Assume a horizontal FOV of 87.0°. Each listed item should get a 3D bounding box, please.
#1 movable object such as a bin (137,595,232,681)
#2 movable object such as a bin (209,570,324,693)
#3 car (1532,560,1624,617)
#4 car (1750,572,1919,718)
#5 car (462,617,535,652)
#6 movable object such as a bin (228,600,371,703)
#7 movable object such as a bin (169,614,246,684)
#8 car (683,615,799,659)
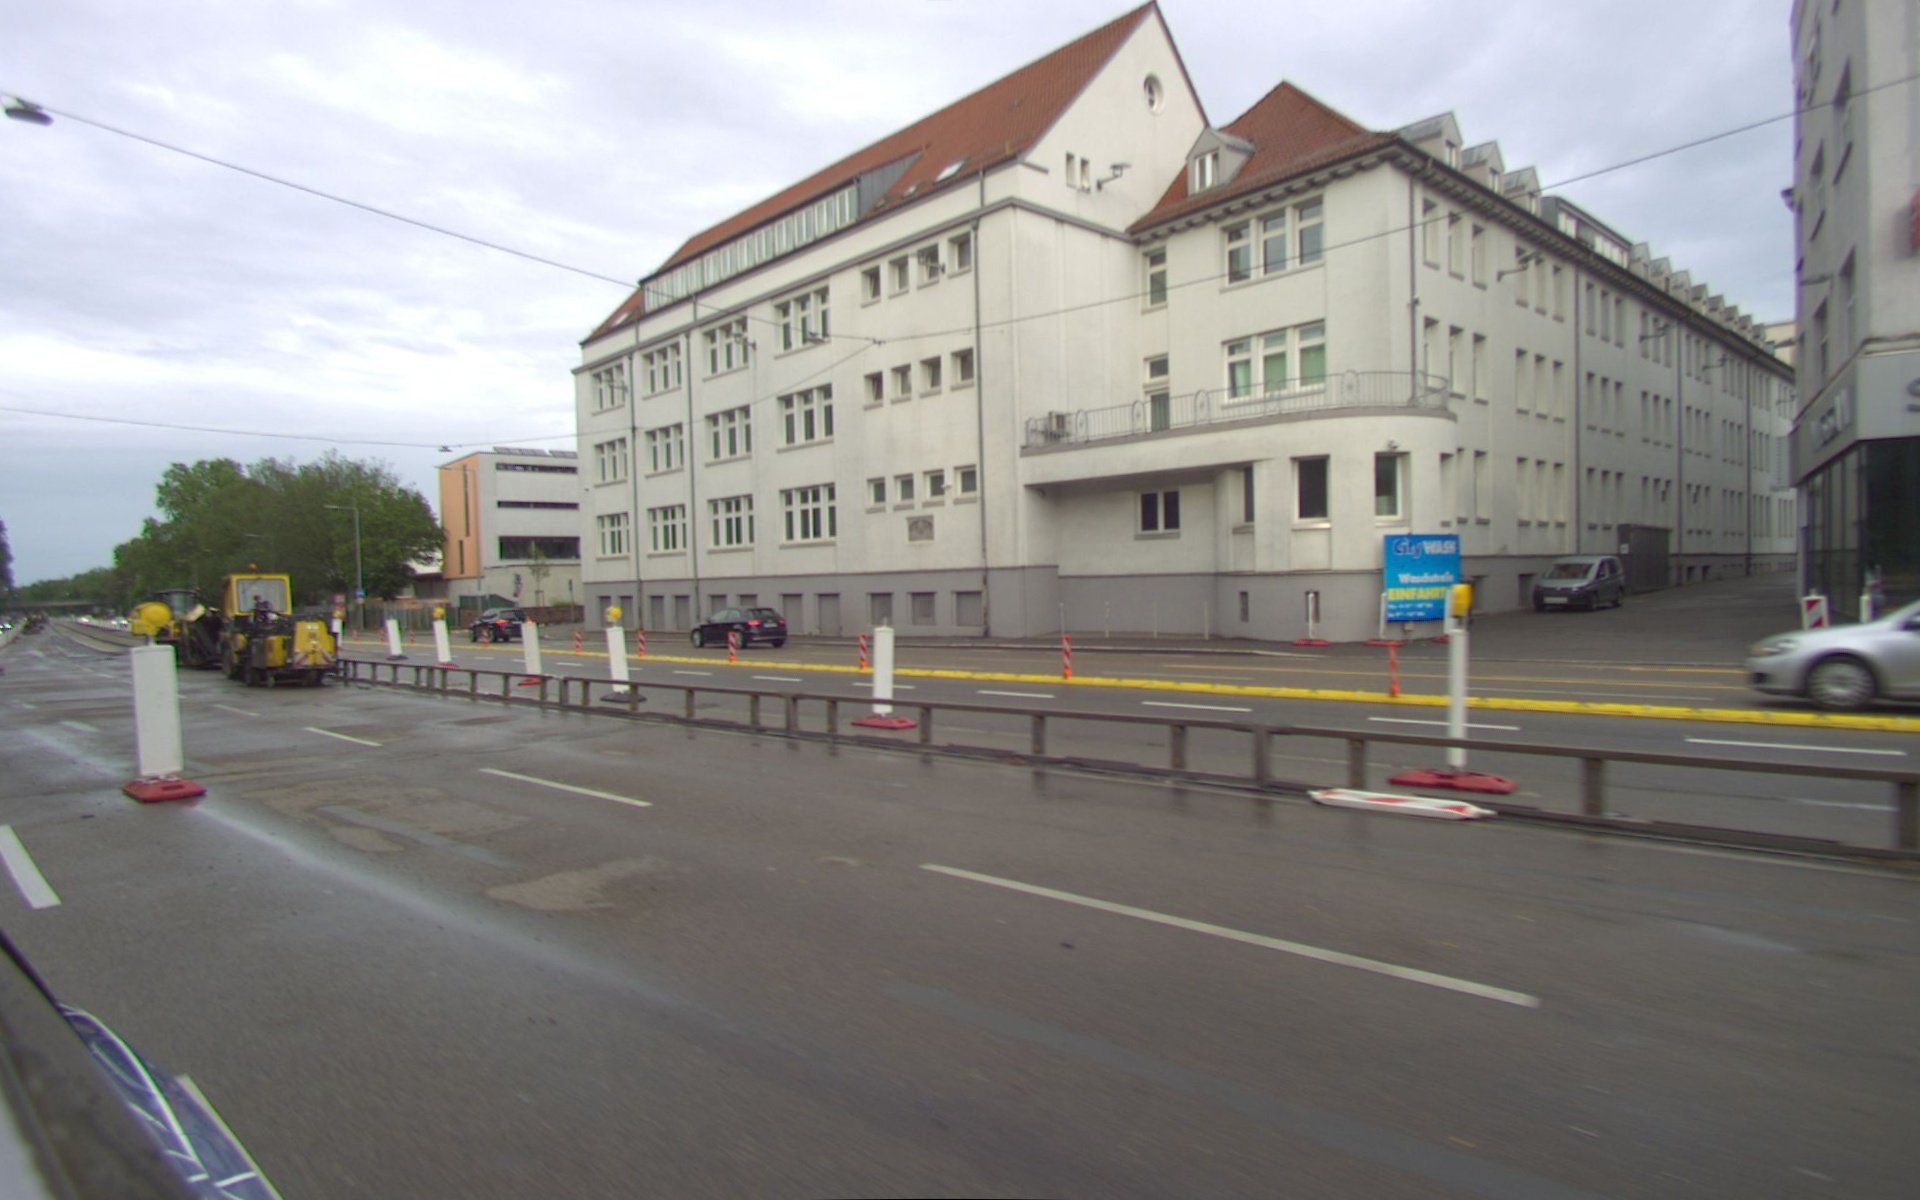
[{"bbox_3d":[-27.865,1.334,36.302,4.481,2.859,2.097,-2,-1,45],"label":"movable object such as a bin"},{"bbox_3d":[-17.891,0.796,26.058,3.608,2.934,1.801,-3,-2,45],"label":"movable object such as a bin"},{"bbox_3d":[21.185,-0.379,34.625,3.906,1.844,1.790,-1,0,-45],"label":"car"},{"bbox_3d":[10.803,0.453,10.349,4.119,1.475,1.682,-2,-2,44],"label":"car"},{"bbox_3d":[-22.909,1.715,50.152,1.970,1.597,4.213,-1,-1,-44],"label":"car"},{"bbox_3d":[-15.190,1.138,23.211,3.851,2.128,1.971,-2,-1,45],"label":"movable object such as a bin"},{"bbox_3d":[-24.148,1.549,32.413,4.087,2.060,1.380,-2,-1,45],"label":"movable object such as a bin"},{"bbox_3d":[-7.463,1.251,34.373,3.998,1.392,1.838,-2,-1,42],"label":"car"}]
